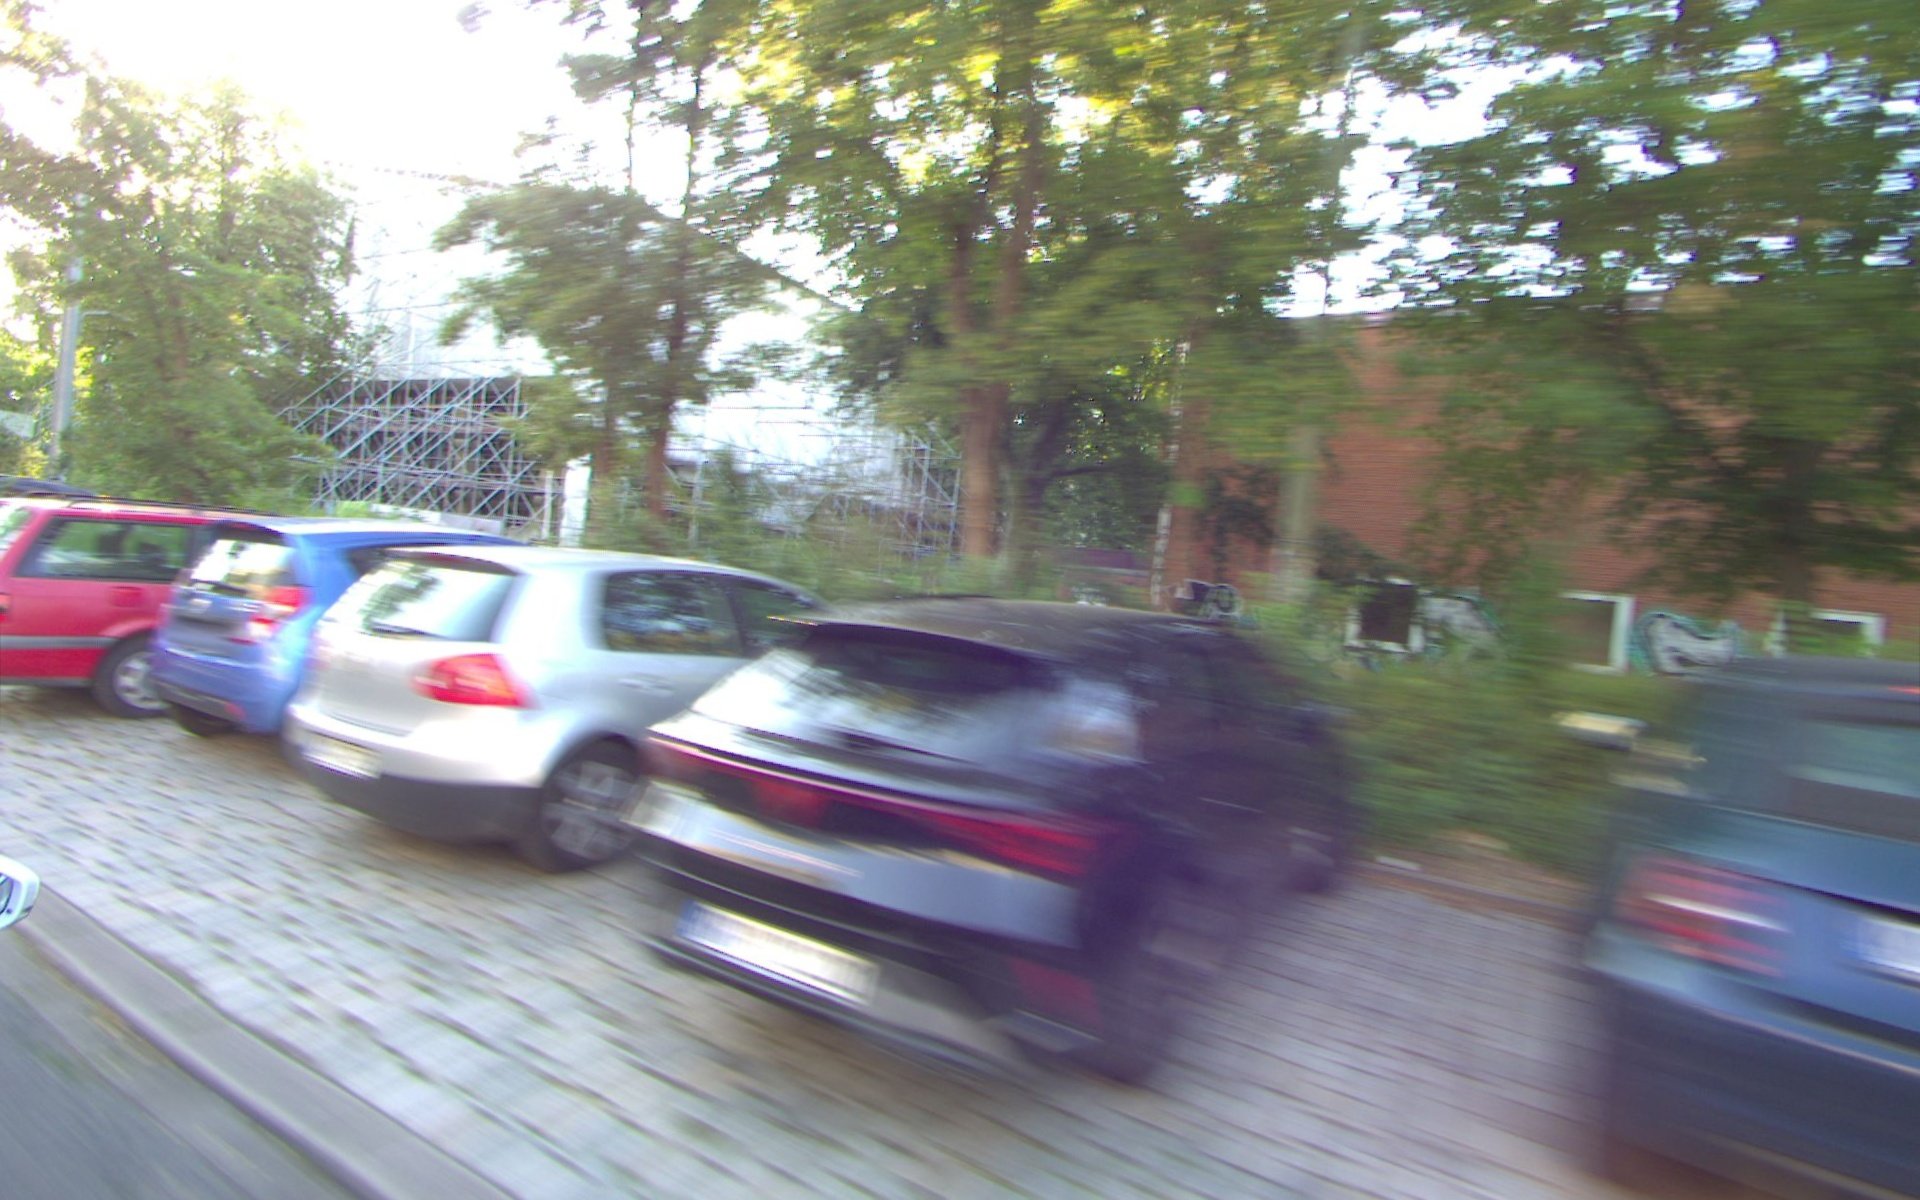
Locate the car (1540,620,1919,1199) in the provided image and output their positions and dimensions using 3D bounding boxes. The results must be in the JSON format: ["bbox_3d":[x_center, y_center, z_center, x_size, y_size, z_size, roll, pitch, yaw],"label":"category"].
[{"bbox_3d":[3.281,0.931,3.594,1.802,1.495,3.805,6,3,32],"label":"car"}]

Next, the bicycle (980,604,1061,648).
[{"bbox_3d":[1.808,0.773,30.434,2.348,1.058,0.647,7,2,33],"label":"bicycle"}]

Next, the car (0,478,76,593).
[{"bbox_3d":[-14.808,-1.016,13.835,1.788,1.587,3.590,5,1,30],"label":"car"}]

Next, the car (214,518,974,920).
[{"bbox_3d":[-1.761,0.454,6.000,1.802,1.474,3.922,6,3,32],"label":"car"}]

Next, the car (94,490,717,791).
[{"bbox_3d":[-3.773,0.197,7.520,1.711,1.577,3.714,6,3,27],"label":"car"}]

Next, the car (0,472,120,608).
[{"bbox_3d":[-12.976,-0.908,12.275,1.668,1.614,3.752,6,-1,29],"label":"car"}]

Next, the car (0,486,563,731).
[{"bbox_3d":[-5.743,0.014,8.337,1.713,1.495,4.336,8,3,32],"label":"car"}]

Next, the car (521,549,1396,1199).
[{"bbox_3d":[0.517,0.699,4.400,1.802,1.495,4.118,6,3,32],"label":"car"}]

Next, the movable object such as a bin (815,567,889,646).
[{"bbox_3d":[-2.162,0.142,20.190,0.968,1.457,0.961,7,2,34],"label":"movable object such as a bin"}]

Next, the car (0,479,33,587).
[{"bbox_3d":[-16.894,-1.283,15.001,1.694,1.687,4.128,6,-1,31],"label":"car"}]
